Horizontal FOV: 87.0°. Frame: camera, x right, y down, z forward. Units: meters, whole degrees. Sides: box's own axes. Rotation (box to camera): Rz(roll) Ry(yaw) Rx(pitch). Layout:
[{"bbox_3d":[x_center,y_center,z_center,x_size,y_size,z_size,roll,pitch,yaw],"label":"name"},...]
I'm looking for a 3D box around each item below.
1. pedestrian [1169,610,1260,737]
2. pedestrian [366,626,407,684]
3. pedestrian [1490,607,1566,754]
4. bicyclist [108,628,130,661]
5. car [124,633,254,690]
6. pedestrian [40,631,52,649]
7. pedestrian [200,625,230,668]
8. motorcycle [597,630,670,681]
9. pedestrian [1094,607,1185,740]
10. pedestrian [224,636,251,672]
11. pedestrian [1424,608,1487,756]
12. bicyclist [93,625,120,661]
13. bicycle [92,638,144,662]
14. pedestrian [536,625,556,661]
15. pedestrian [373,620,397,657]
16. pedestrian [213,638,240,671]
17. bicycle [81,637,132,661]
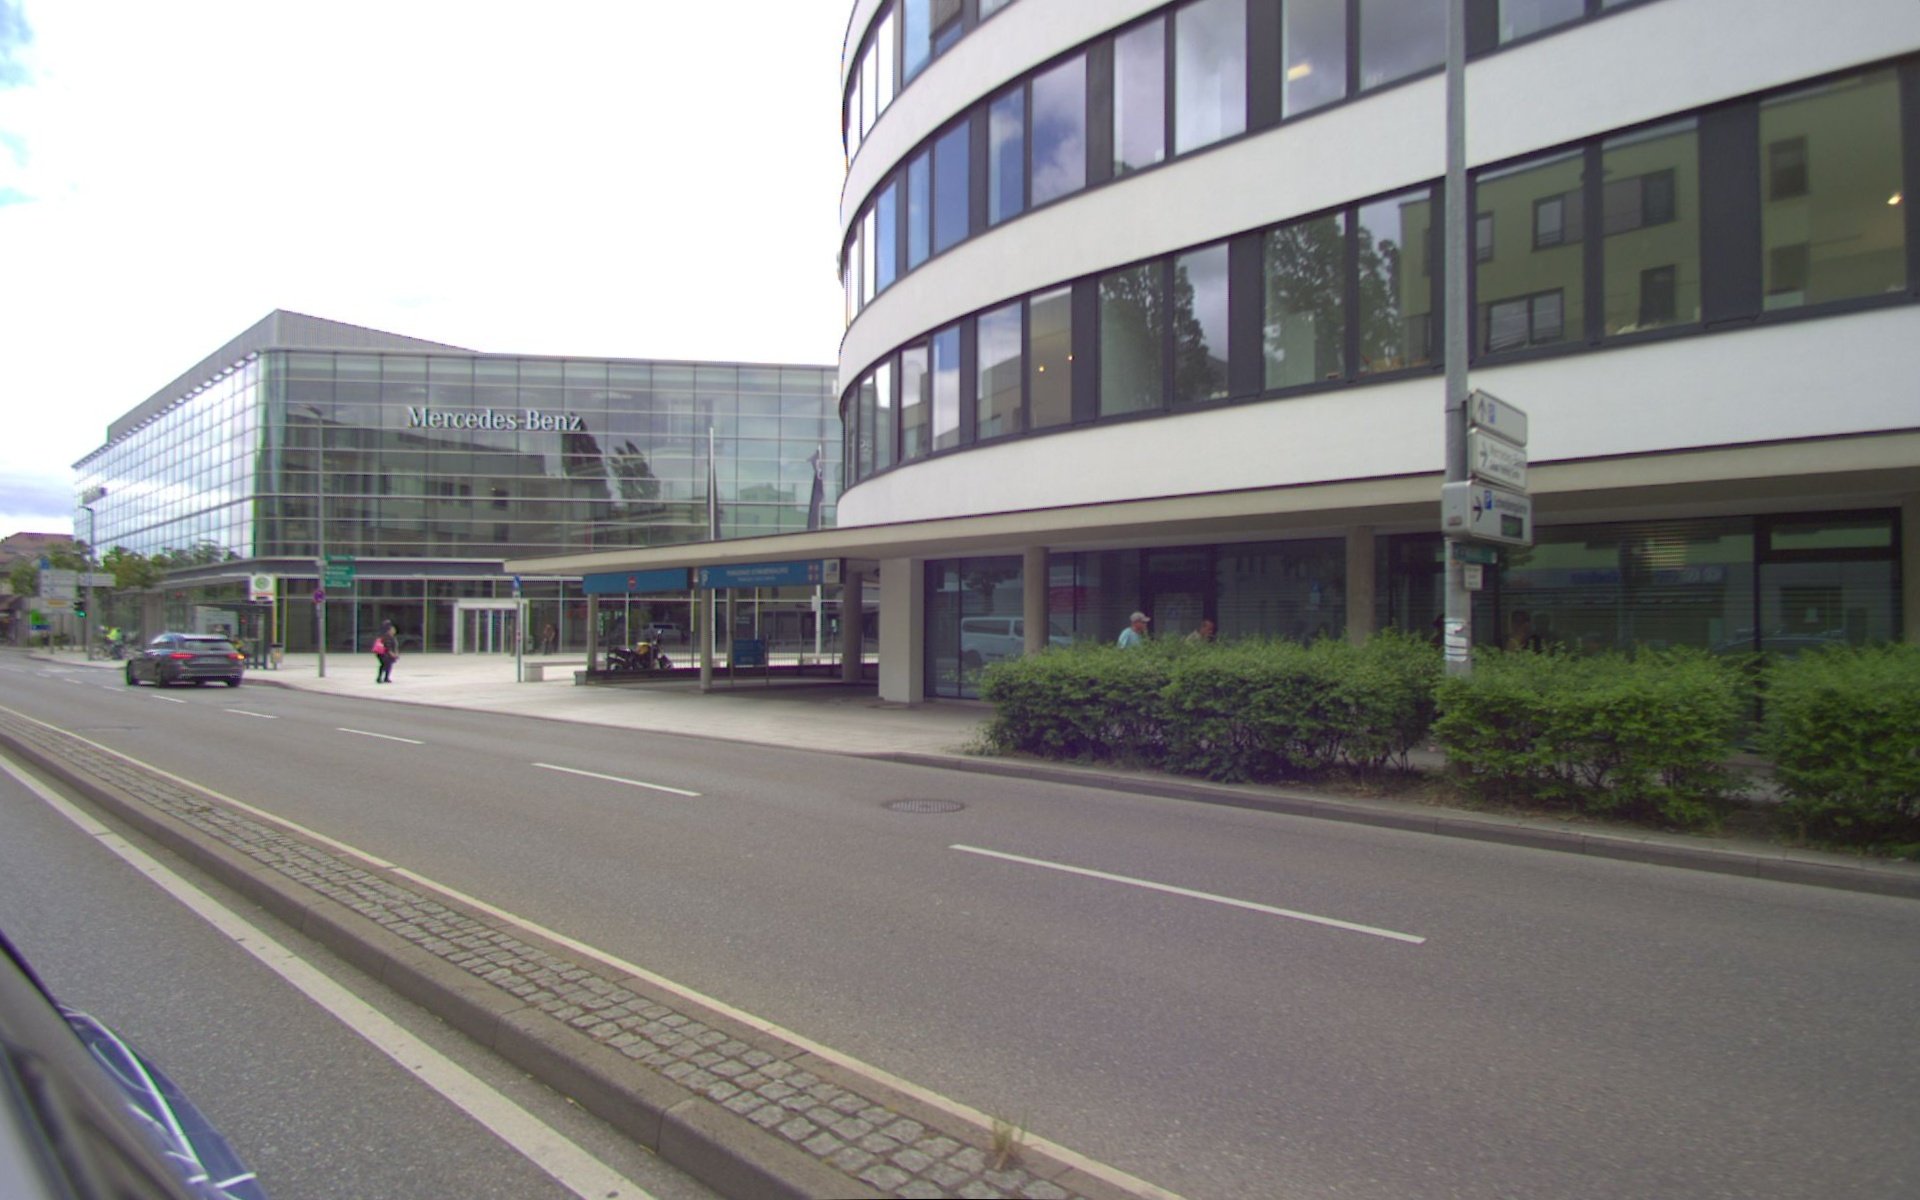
[{"bbox_3d":[3.428,0.959,13.618,0.931,1.625,0.722,-2,-1,43],"label":"pedestrian"},{"bbox_3d":[-16.014,1.515,28.275,0.820,1.579,0.814,0,-1,-44],"label":"pedestrian"},{"bbox_3d":[6.930,0.965,12.366,0.497,1.743,0.617,1,-2,-18],"label":"pedestrian"},{"bbox_3d":[-42.538,2.247,51.201,0.771,1.661,0.640,-1,-1,-34],"label":"bicyclist"},{"bbox_3d":[-21.205,1.638,27.762,4.467,1.426,1.877,-2,-2,40],"label":"car"},{"bbox_3d":[-80.060,3.496,88.638,0.693,1.636,0.693,-2,-3,41],"label":"pedestrian"},{"bbox_3d":[-28.884,1.813,39.249,0.568,1.644,0.686,1,-3,0],"label":"pedestrian"},{"bbox_3d":[-9.117,1.530,28.279,0.636,1.343,1.833,-2,-1,45],"label":"motorcycle"},{"bbox_3d":[2.381,0.951,13.460,0.931,1.686,0.722,-2,-1,43],"label":"pedestrian"},{"bbox_3d":[-27.269,2.028,38.197,0.576,1.330,0.677,-2,-4,40],"label":"pedestrian"},{"bbox_3d":[5.925,0.961,12.119,0.501,1.723,0.613,0,-2,11],"label":"pedestrian"},{"bbox_3d":[-44.824,2.251,53.169,0.762,1.813,0.748,-2,0,-5],"label":"bicyclist"},{"bbox_3d":[-42.562,2.521,51.185,1.973,1.139,0.640,-1,0,-34],"label":"bicycle"},{"bbox_3d":[-22.592,2.347,55.200,0.747,1.960,0.680,-1,-1,28],"label":"pedestrian"},{"bbox_3d":[-30.841,2.041,54.272,0.740,1.960,0.902,-1,-1,2],"label":"pedestrian"},{"bbox_3d":[-28.258,2.097,39.006,0.576,1.263,0.677,-2,-3,40],"label":"pedestrian"},{"bbox_3d":[-44.821,2.568,53.149,2.000,1.215,0.748,-2,0,-4],"label":"bicycle"}]
